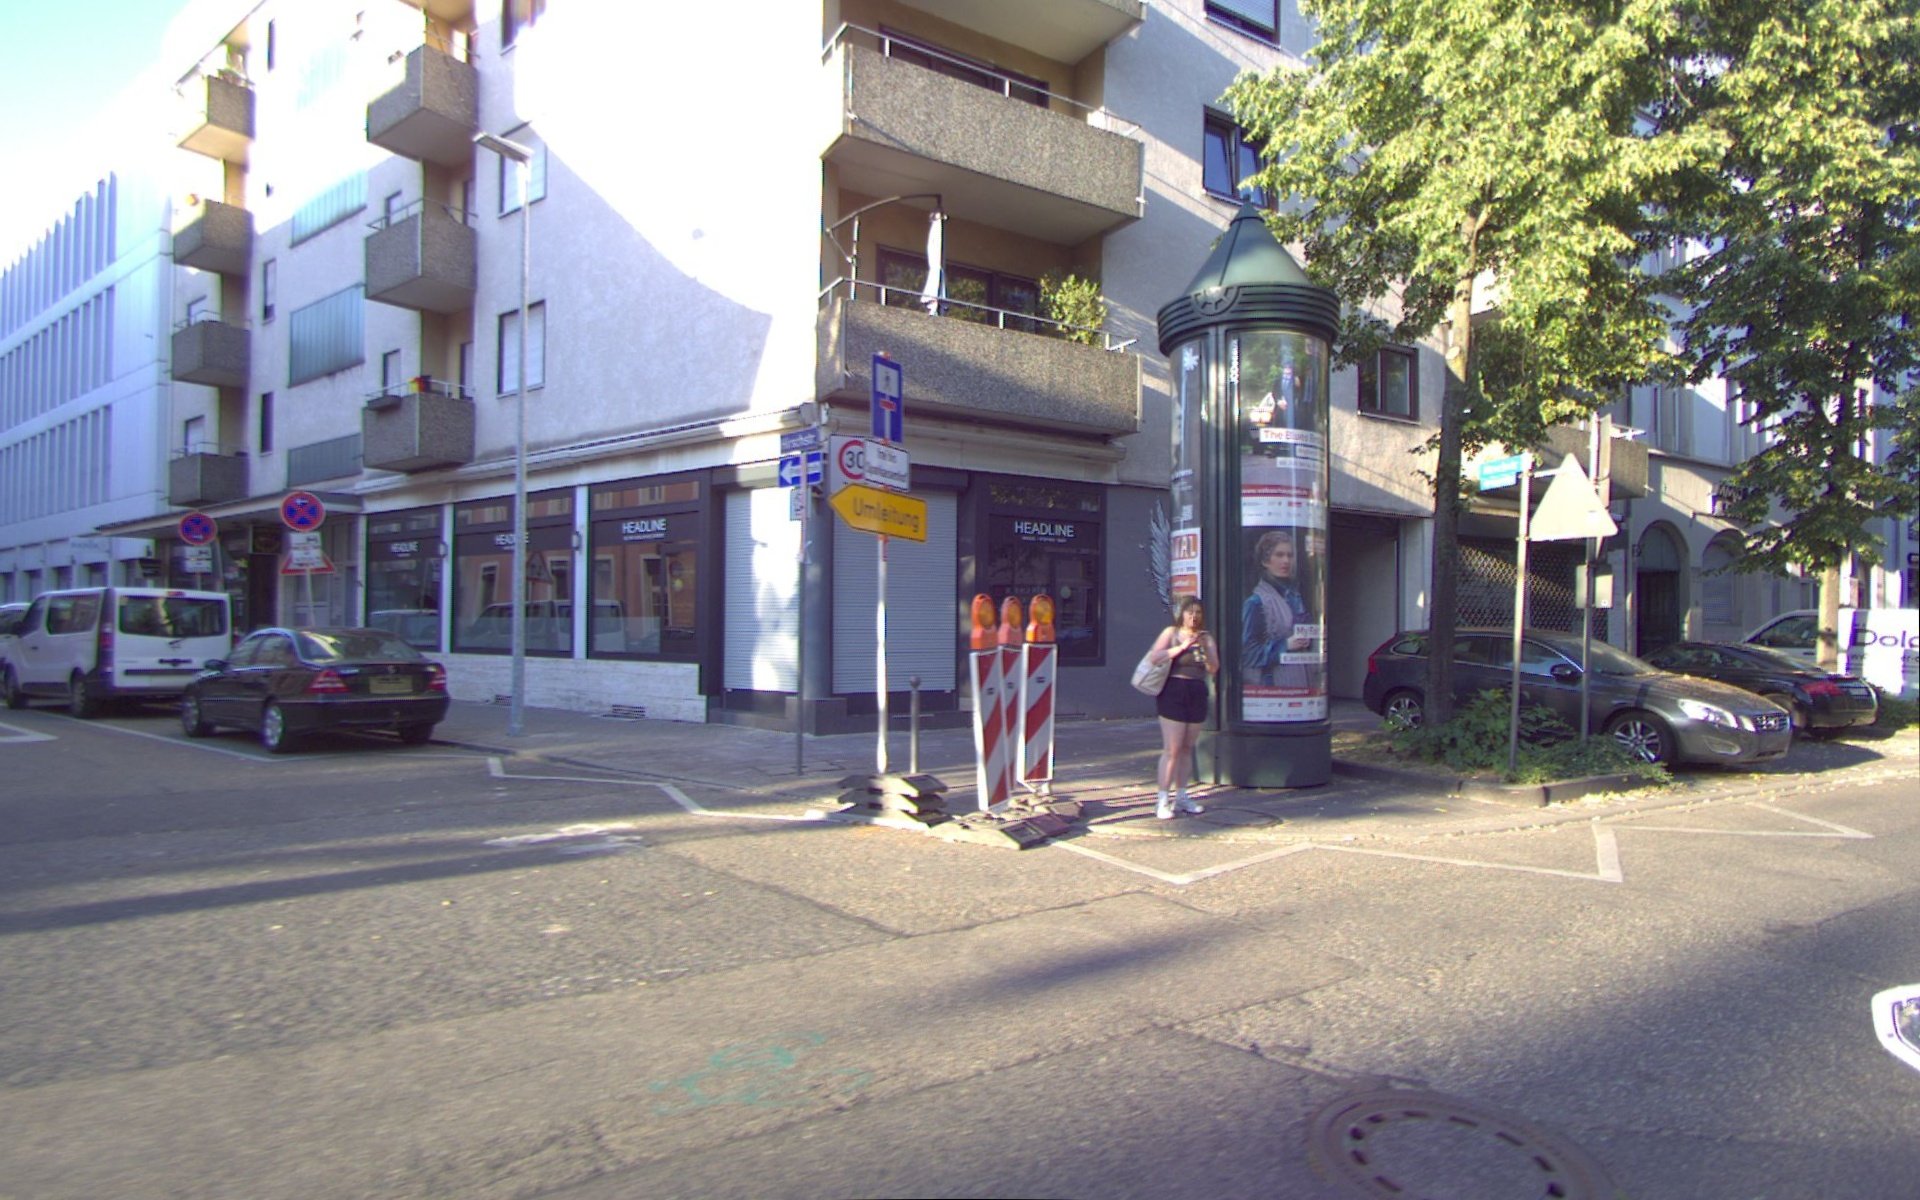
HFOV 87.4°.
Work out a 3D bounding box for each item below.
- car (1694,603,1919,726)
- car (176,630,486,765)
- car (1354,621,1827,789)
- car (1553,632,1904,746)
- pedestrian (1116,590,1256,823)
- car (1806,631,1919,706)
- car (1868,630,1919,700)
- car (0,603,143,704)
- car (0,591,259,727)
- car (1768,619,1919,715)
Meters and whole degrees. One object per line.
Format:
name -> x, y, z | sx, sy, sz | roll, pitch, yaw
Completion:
car -> 15.924, 1.073, 17.619 | 1.967, 1.988, 4.550 | 1, -1, -30
car -> -7.961, 1.084, 12.598 | 4.142, 1.398, 1.992 | -1, -2, 38
car -> 7.225, 1.065, 12.061 | 1.790, 1.562, 4.524 | 1, -1, -30
car -> 11.526, 1.255, 15.349 | 2.017, 1.410, 3.778 | 2, -1, -26
pedestrian -> 1.754, 0.789, 7.862 | 0.821, 1.708, 0.709 | 0, -1, -21
car -> 20.338, 1.415, 20.465 | 1.758, 1.486, 4.423 | 1, -1, -29
car -> 22.565, 1.437, 21.432 | 1.822, 1.526, 4.423 | 1, -1, -29
car -> -19.344, 1.084, 21.091 | 4.451, 1.891, 2.066 | -1, -3, 33
car -> -13.876, 0.925, 16.691 | 4.451, 1.971, 2.066 | -1, -3, 33
car -> 18.320, 1.242, 18.816 | 2.035, 1.720, 4.552 | 1, -1, -29
